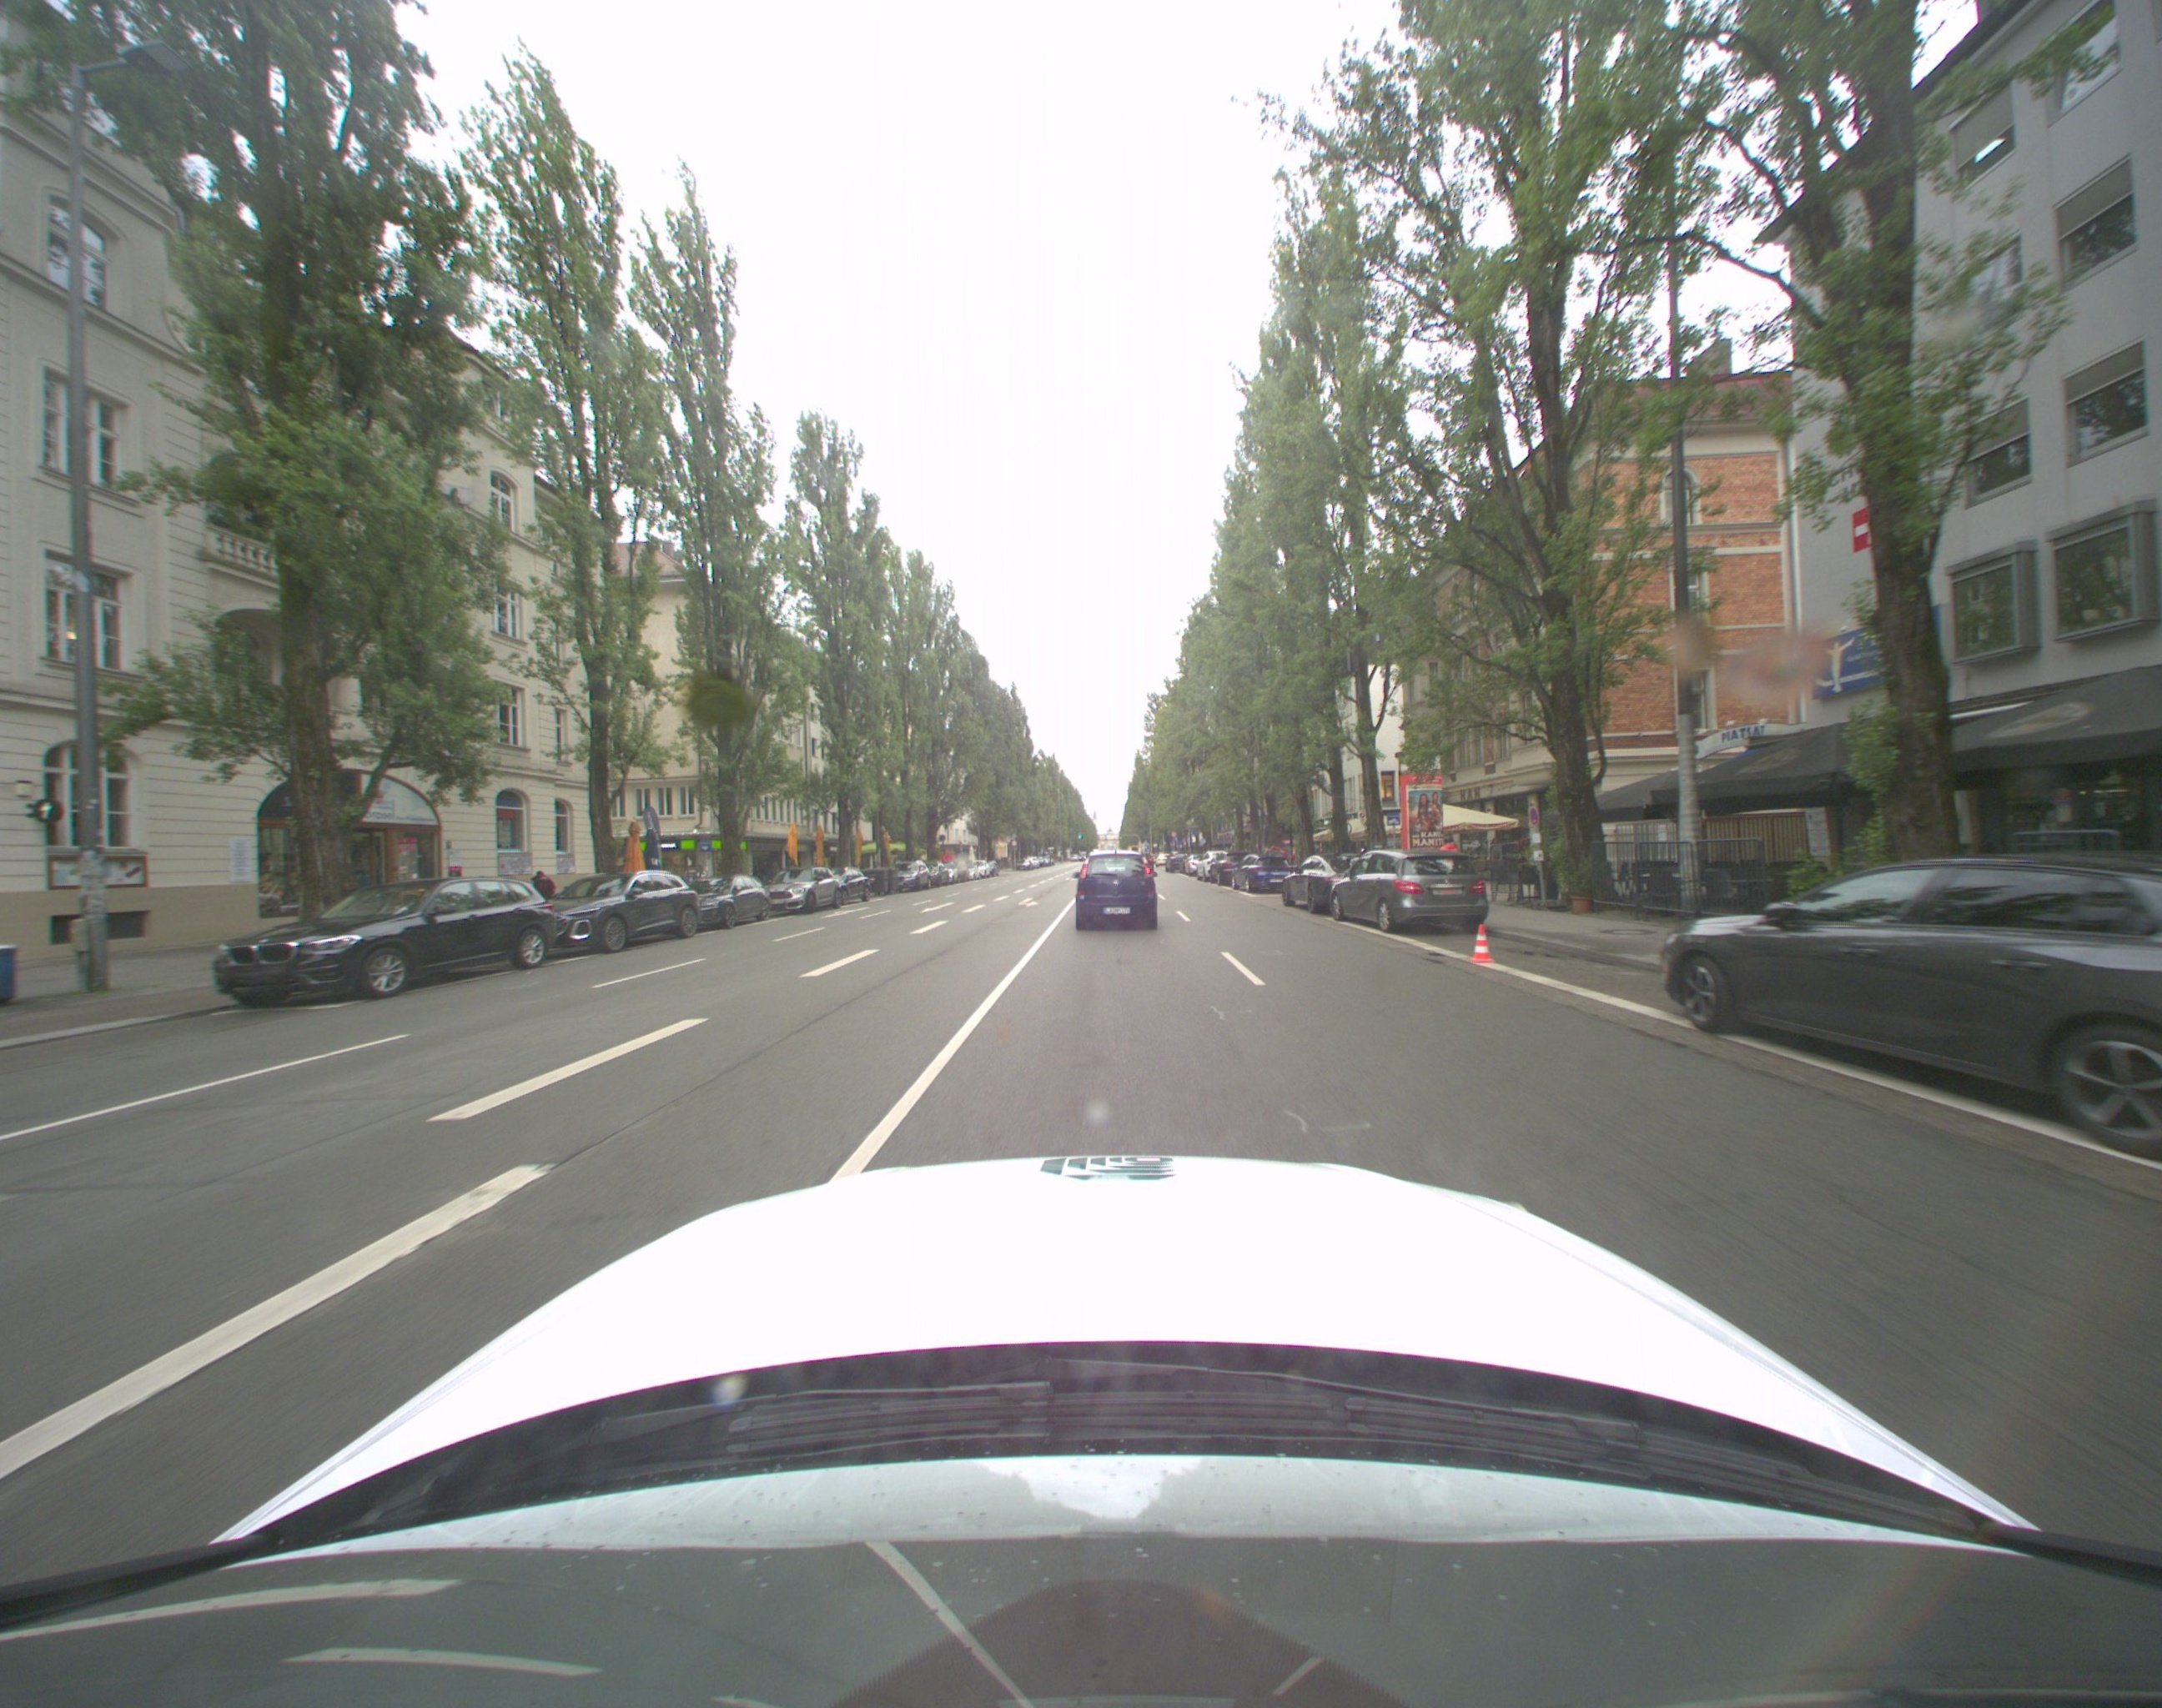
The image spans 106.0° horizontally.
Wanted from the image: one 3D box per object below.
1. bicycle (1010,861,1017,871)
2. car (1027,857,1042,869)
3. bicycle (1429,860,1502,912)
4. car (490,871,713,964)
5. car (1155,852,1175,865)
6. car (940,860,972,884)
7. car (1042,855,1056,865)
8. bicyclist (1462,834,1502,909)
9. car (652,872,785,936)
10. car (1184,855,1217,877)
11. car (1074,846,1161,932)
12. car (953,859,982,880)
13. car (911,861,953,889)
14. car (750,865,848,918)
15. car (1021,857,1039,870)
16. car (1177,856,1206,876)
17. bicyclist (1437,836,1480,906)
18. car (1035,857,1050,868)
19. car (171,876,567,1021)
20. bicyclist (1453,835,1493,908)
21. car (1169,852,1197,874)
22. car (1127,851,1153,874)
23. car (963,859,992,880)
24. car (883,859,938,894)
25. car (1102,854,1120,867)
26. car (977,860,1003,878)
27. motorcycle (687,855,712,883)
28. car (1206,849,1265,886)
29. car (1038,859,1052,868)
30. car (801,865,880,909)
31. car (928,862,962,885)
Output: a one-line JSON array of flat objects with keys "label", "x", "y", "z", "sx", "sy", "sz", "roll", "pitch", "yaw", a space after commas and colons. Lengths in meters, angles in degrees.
[{"label": "bicycle", "x": -7.780, "y": 1.374, "z": 93.900, "sx": 0.664, "sy": 1.006, "sz": 2.461, "roll": -2, "pitch": 0, "yaw": -1}, {"label": "car", "x": -6.287, "y": 1.247, "z": 110.557, "sx": 1.648, "sy": 1.562, "sz": 3.459, "roll": -2, "pitch": 0, "yaw": 2}, {"label": "bicycle", "x": 8.825, "y": 0.694, "z": 18.797, "sx": 0.624, "sy": 1.086, "sz": 2.264, "roll": -2, "pitch": 0, "yaw": 1}, {"label": "car", "x": -10.184, "y": 1.257, "z": 17.820, "sx": 1.795, "sy": 1.594, "sz": 4.636, "roll": -3, "pitch": 0, "yaw": 4}, {"label": "car", "x": 9.341, "y": 0.494, "z": 90.726, "sx": 1.890, "sy": 1.362, "sz": 3.902, "roll": -2, "pitch": 0, "yaw": 2}, {"label": "car", "x": -8.955, "y": 1.287, "z": 58.528, "sx": 1.836, "sy": 1.565, "sz": 4.174, "roll": -2, "pitch": 0, "yaw": -3}, {"label": "car", "x": -5.439, "y": 1.001, "z": 139.103, "sx": 1.986, "sy": 1.662, "sz": 4.001, "roll": -2, "pitch": 0, "yaw": 1}, {"label": "bicyclist", "x": 8.786, "y": 0.383, "z": 17.863, "sx": 0.619, "sy": 1.588, "sz": 0.391, "roll": -2, "pitch": 0, "yaw": 1}, {"label": "car", "x": -10.087, "y": 1.328, "z": 23.101, "sx": 1.680, "sy": 1.424, "sz": 4.685, "roll": -4, "pitch": 0, "yaw": -1}, {"label": "car", "x": 7.873, "y": 0.747, "z": 53.857, "sx": 1.664, "sy": 1.406, "sz": 4.128, "roll": 0, "pitch": 0, "yaw": 1}, {"label": "car", "x": 0.756, "y": 0.685, "z": 17.991, "sx": 1.675, "sy": 1.641, "sz": 4.001, "roll": -1, "pitch": 0, "yaw": 1}, {"label": "car", "x": -8.720, "y": 1.185, "z": 62.971, "sx": 1.566, "sy": 1.534, "sz": 2.926, "roll": -2, "pitch": 0, "yaw": 4}, {"label": "car", "x": -9.104, "y": 1.234, "z": 49.955, "sx": 1.691, "sy": 1.550, "sz": 4.083, "roll": -2, "pitch": 0, "yaw": 1}, {"label": "car", "x": -9.615, "y": 1.241, "z": 28.104, "sx": 1.775, "sy": 1.575, "sz": 4.134, "roll": -2, "pitch": 0, "yaw": 2}, {"label": "car", "x": -6.241, "y": 1.131, "z": 99.637, "sx": 1.823, "sy": 1.420, "sz": 3.813, "roll": -2, "pitch": 0, "yaw": 2}, {"label": "car", "x": 7.958, "y": 0.845, "z": 58.800, "sx": 1.675, "sy": 1.415, "sz": 3.584, "roll": 0, "pitch": 0, "yaw": 1}, {"label": "bicyclist", "x": 8.819, "y": 0.391, "z": 19.050, "sx": 0.619, "sy": 1.588, "sz": 0.753, "roll": -2, "pitch": 0, "yaw": 1}, {"label": "car", "x": -5.764, "y": 1.260, "z": 122.780, "sx": 1.955, "sy": 1.530, "sz": 4.000, "roll": -2, "pitch": 0, "yaw": 1}, {"label": "car", "x": -10.460, "y": 1.255, "z": 12.619, "sx": 1.813, "sy": 1.618, "sz": 4.718, "roll": -3, "pitch": 0, "yaw": 2}, {"label": "bicyclist", "x": 8.803, "y": 0.386, "z": 18.290, "sx": 0.619, "sy": 1.588, "sz": 0.481, "roll": -2, "pitch": 0, "yaw": 1}, {"label": "car", "x": 7.948, "y": 0.680, "z": 63.723, "sx": 1.790, "sy": 1.594, "sz": 4.107, "roll": 0, "pitch": 0, "yaw": 2}, {"label": "car", "x": 4.315, "y": 0.595, "z": 60.318, "sx": 1.700, "sy": 1.574, "sz": 4.001, "roll": -2, "pitch": 0, "yaw": 1}, {"label": "car", "x": -8.479, "y": 1.265, "z": 67.083, "sx": 1.829, "sy": 1.546, "sz": 4.086, "roll": -2, "pitch": 0, "yaw": 0}, {"label": "car", "x": -9.372, "y": 1.193, "z": 45.184, "sx": 1.858, "sy": 1.654, "sz": 4.616, "roll": -4, "pitch": 0, "yaw": 1}, {"label": "car", "x": 3.504, "y": 0.729, "z": 96.691, "sx": 1.986, "sy": 1.497, "sz": 4.001, "roll": -2, "pitch": 0, "yaw": 1}, {"label": "car", "x": -8.052, "y": 1.287, "z": 72.251, "sx": 1.579, "sy": 1.447, "sz": 3.395, "roll": -2, "pitch": 0, "yaw": 4}, {"label": "motorcycle", "x": -15.940, "y": 0.618, "z": 34.079, "sx": 0.476, "sy": 1.139, "sz": 1.807, "roll": -2, "pitch": -1, "yaw": -11}, {"label": "car", "x": 7.183, "y": 0.603, "z": 38.384, "sx": 1.986, "sy": 1.565, "sz": 4.485, "roll": -2, "pitch": 0, "yaw": 1}, {"label": "car", "x": -5.655, "y": 1.490, "z": 128.270, "sx": 1.954, "sy": 1.399, "sz": 3.780, "roll": -2, "pitch": 0, "yaw": 1}, {"label": "car", "x": -9.736, "y": 1.299, "z": 33.354, "sx": 1.656, "sy": 1.504, "sz": 4.316, "roll": -4, "pitch": 0, "yaw": 3}, {"label": "car", "x": -9.073, "y": 1.268, "z": 54.555, "sx": 1.625, "sy": 1.428, "sz": 2.984, "roll": -2, "pitch": 0, "yaw": 1}]
